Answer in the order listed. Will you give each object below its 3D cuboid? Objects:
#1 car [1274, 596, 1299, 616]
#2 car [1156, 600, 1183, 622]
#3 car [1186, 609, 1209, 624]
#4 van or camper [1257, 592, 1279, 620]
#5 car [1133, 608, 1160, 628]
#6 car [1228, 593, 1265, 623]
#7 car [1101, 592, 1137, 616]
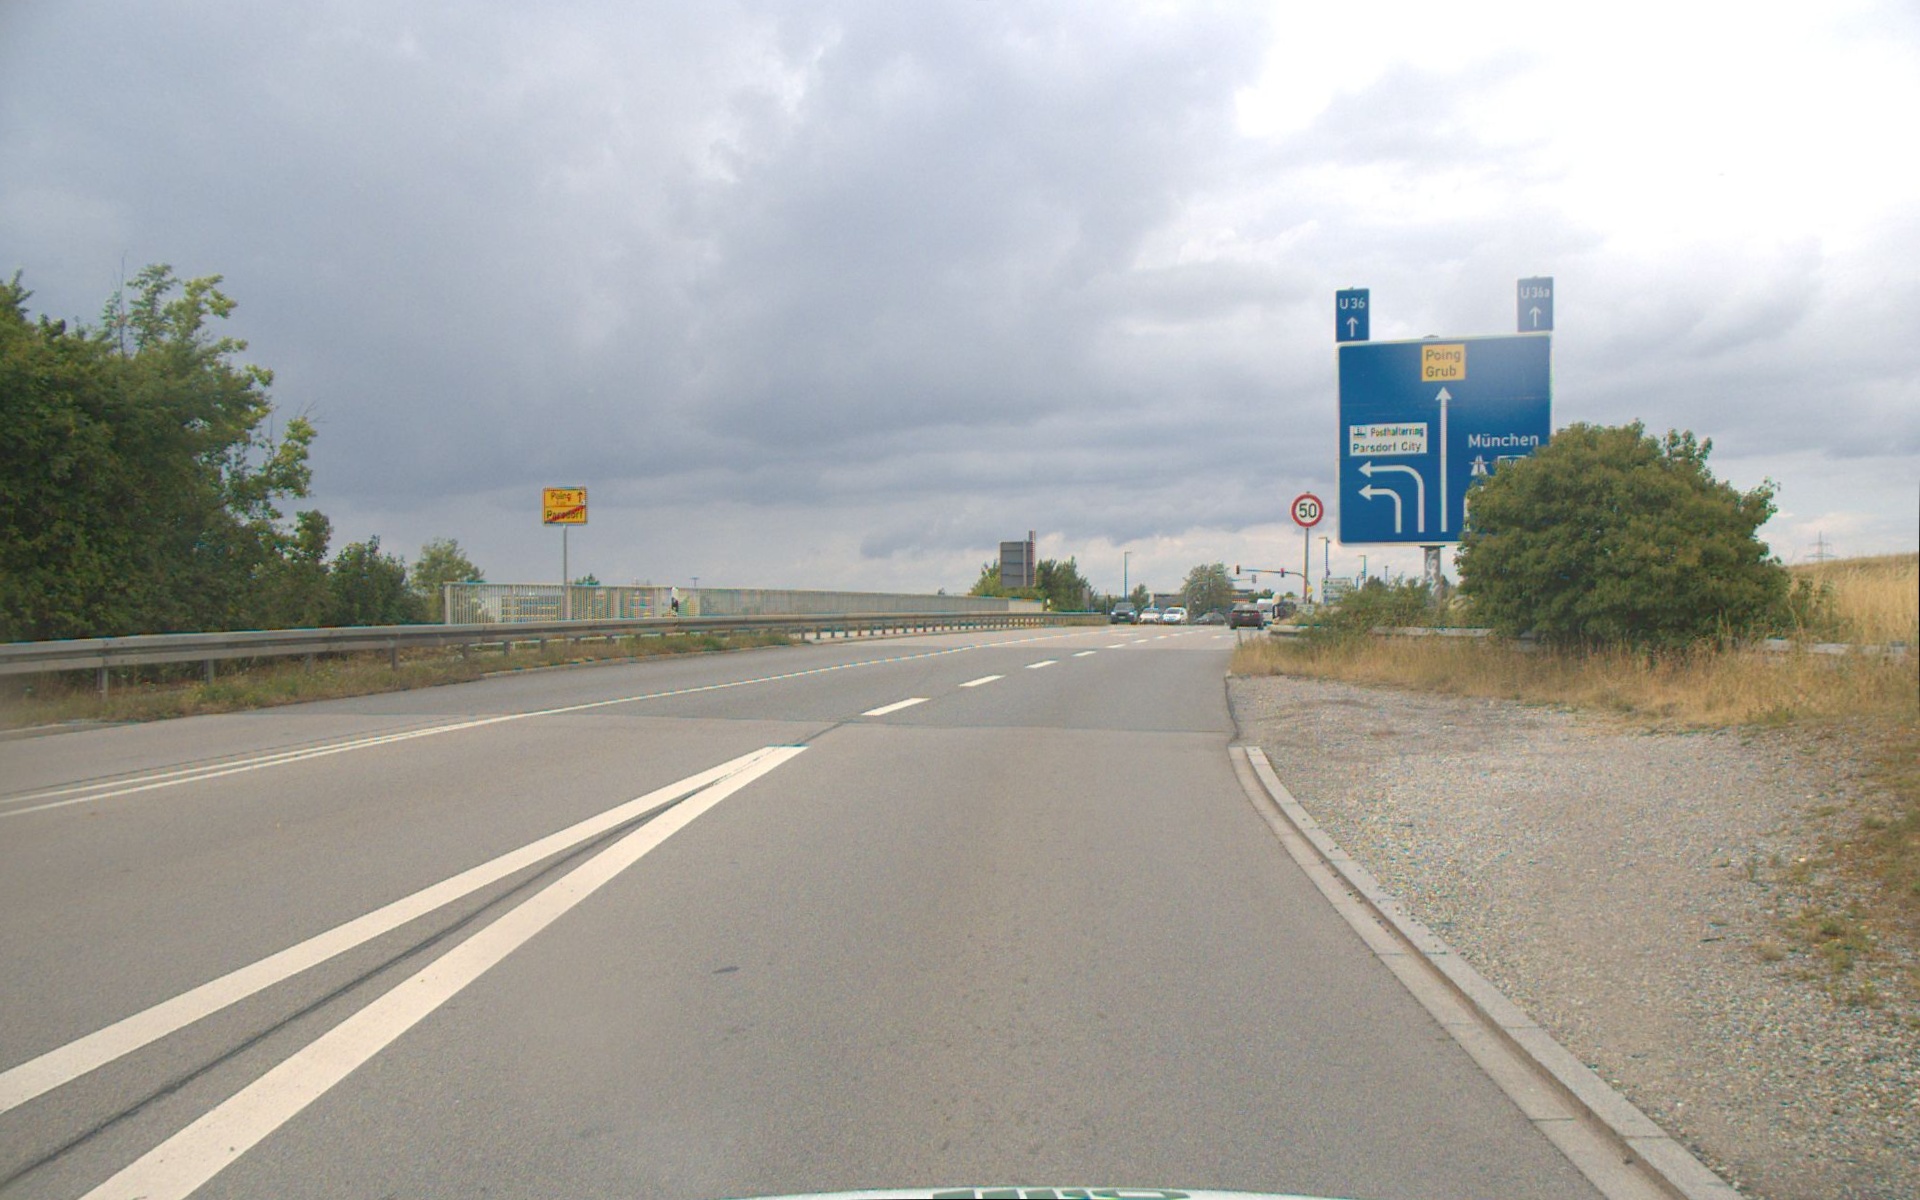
[{"bbox_3d":[25.969,0.497,131.613,1.646,1.571,3.617,0,-1,16],"label":"car"},{"bbox_3d":[21.268,1.140,167.688,1.913,1.906,4.824,4,3,16],"label":"car"},{"bbox_3d":[26.279,1.779,182.773,1.550,1.585,4.145,1,-1,23],"label":"car"},{"bbox_3d":[29.563,0.559,158.567,1.836,2.626,4.003,1,-1,13],"label":"van or camper"},{"bbox_3d":[16.992,1.595,150.591,1.676,1.512,4.283,4,3,16],"label":"car"},{"bbox_3d":[14.789,0.426,85.203,1.486,1.511,3.617,0,-1,16],"label":"car"},{"bbox_3d":[13.162,0.369,136.758,1.952,1.762,4.764,4,0,17],"label":"car"}]
